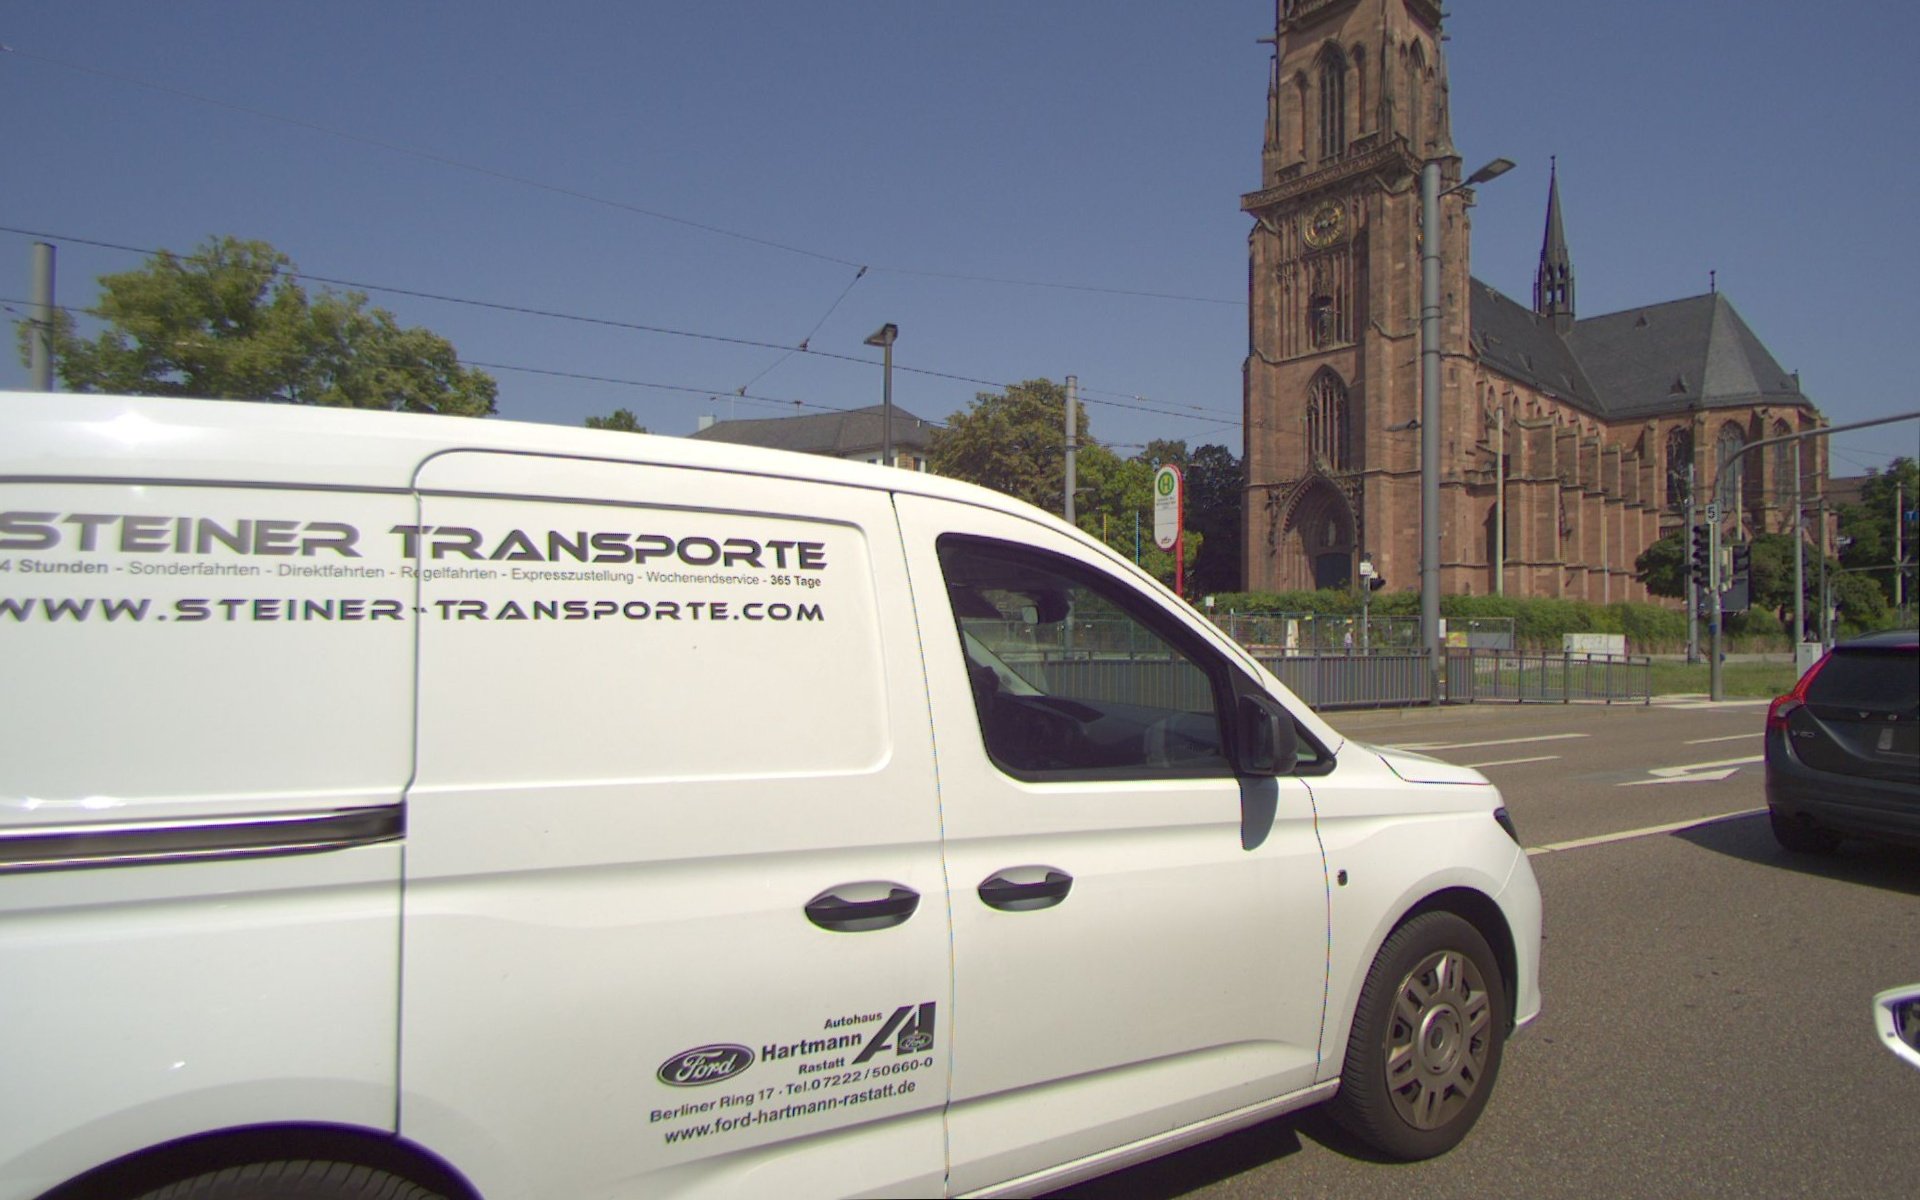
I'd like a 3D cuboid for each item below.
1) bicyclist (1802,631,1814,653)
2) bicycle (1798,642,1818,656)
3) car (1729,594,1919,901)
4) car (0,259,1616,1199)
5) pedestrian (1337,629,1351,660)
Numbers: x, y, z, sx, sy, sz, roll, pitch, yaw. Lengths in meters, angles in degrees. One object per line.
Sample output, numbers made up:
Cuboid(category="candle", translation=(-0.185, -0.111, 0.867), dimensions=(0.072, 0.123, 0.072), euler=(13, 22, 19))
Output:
Cuboid(category="bicyclist", translation=(52.593, 2.588, 62.296), dimensions=(0.419, 1.339, 0.446), euler=(1, -2, -28))
Cuboid(category="bicycle", translation=(52.615, 3.040, 62.299), dimensions=(1.457, 0.871, 0.452), euler=(1, -2, -29))
Cuboid(category="car", translation=(6.948, 0.821, 6.422), dimensions=(4.257, 1.636, 1.739), euler=(1, 0, -30))
Cuboid(category="car", translation=(-0.257, 0.546, 2.737), dimensions=(4.189, 1.844, 1.739), euler=(1, -1, -30))
Cuboid(category="pedestrian", translation=(19.315, 2.223, 50.523), dimensions=(0.432, 1.551, 0.537), euler=(1, -2, -44))
